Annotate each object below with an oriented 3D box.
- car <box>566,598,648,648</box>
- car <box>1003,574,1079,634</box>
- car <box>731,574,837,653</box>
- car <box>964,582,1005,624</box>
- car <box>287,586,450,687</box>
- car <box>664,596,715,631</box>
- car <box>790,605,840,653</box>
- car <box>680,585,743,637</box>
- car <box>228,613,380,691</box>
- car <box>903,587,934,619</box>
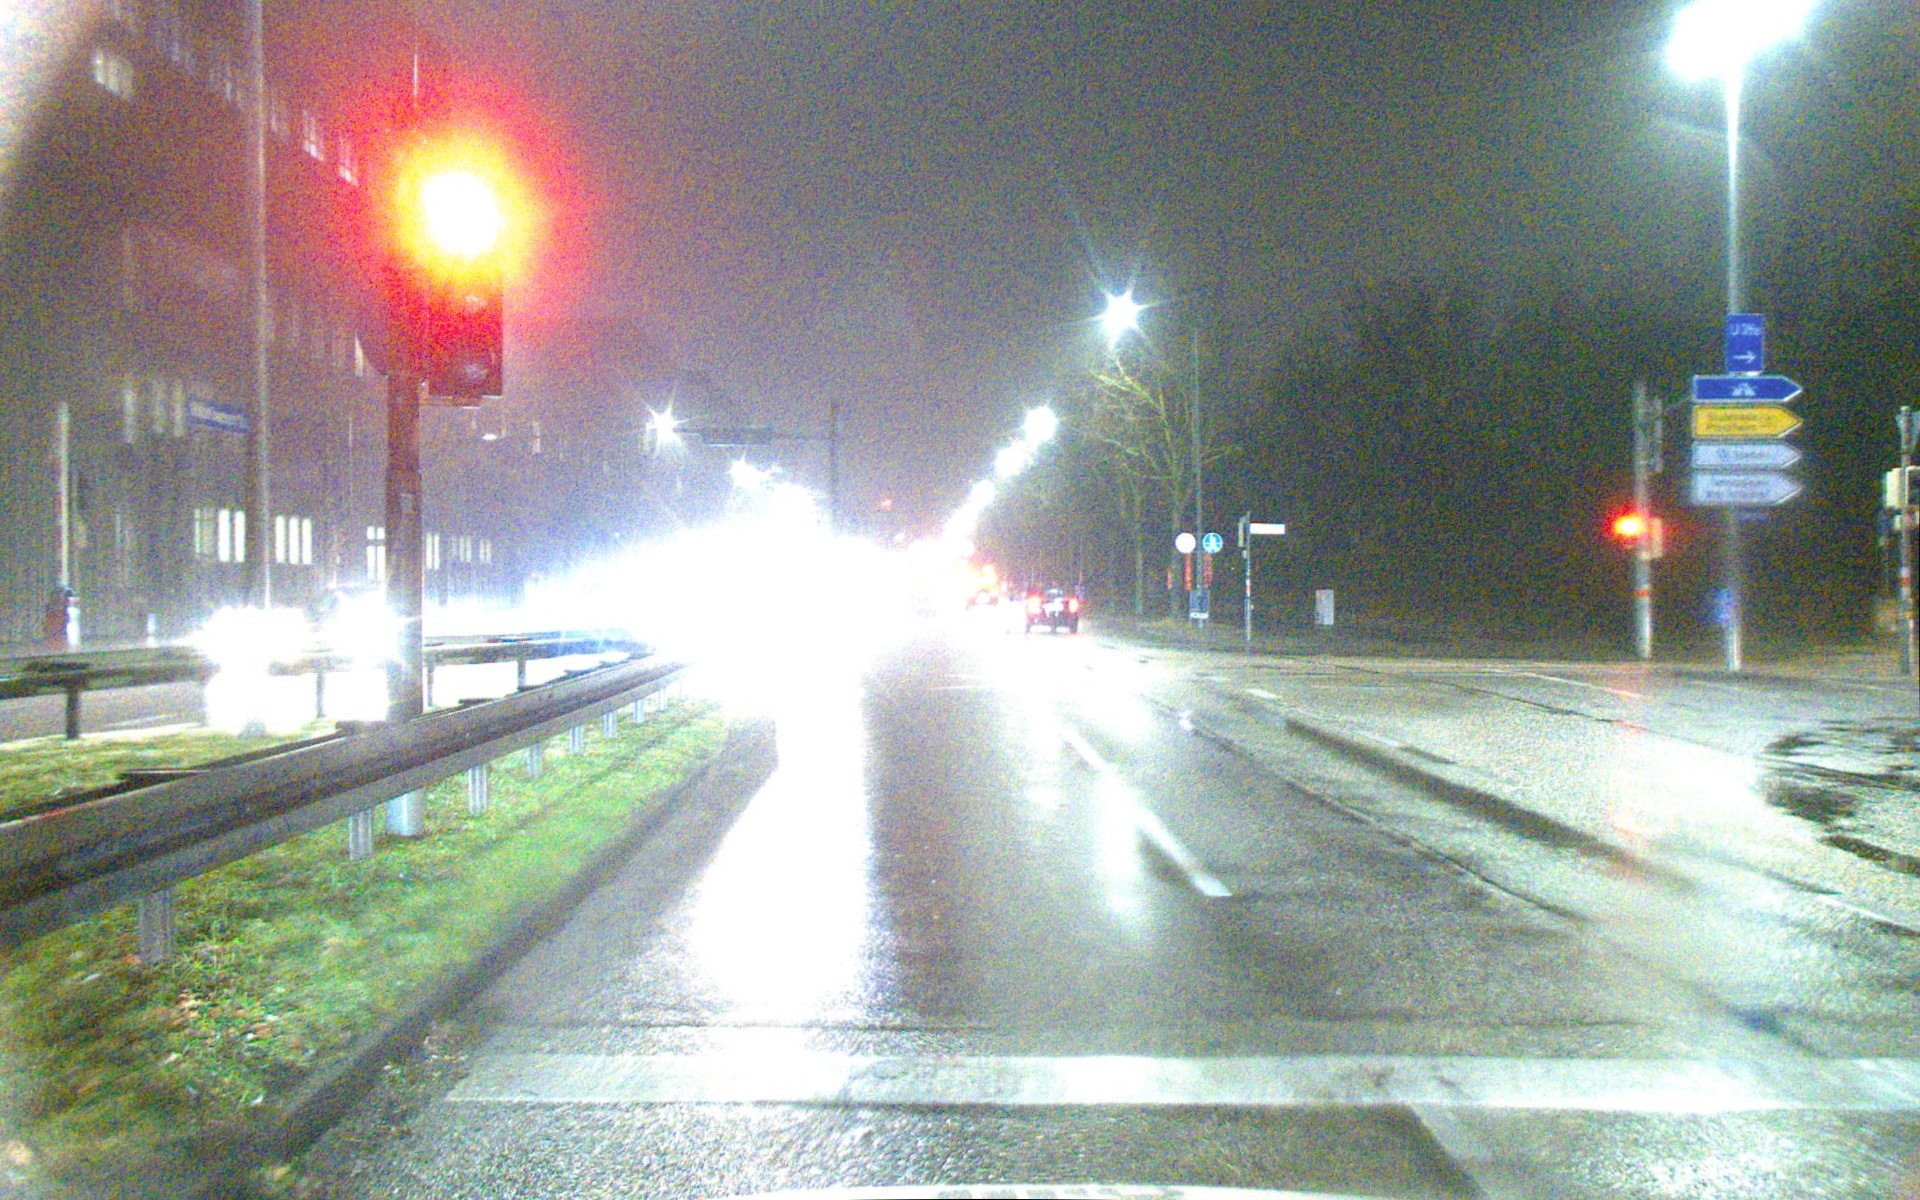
[{"bbox_3d":[-11.843,0.760,55.730,1.847,1.579,4.432,0,0,-1],"label":"car"},{"bbox_3d":[2.497,0.135,51.979,1.865,1.811,3.995,0,0,-5],"label":"car"},{"bbox_3d":[-3.868,0.304,37.074,1.953,1.638,4.968,0,0,-2],"label":"car"},{"bbox_3d":[1.335,0.163,90.604,2.163,2.253,3.642,0,-1,-1],"label":"car"},{"bbox_3d":[-11.139,0.657,31.466,1.715,1.738,4.495,-1,0,-4],"label":"car"},{"bbox_3d":[-12.744,0.622,78.053,1.734,1.597,4.330,-1,0,-1],"label":"car"},{"bbox_3d":[-6.527,1.284,74.708,1.953,2.049,3.999,-1,0,-1],"label":"car"},{"bbox_3d":[-9.094,0.404,60.809,1.746,1.847,3.999,-1,0,-1],"label":"car"},{"bbox_3d":[-14.258,1.087,36.177,1.764,1.591,3.999,0,0,-1],"label":"car"},{"bbox_3d":[-2.683,0.230,107.692,1.953,2.049,3.999,0,0,-1],"label":"car"}]
